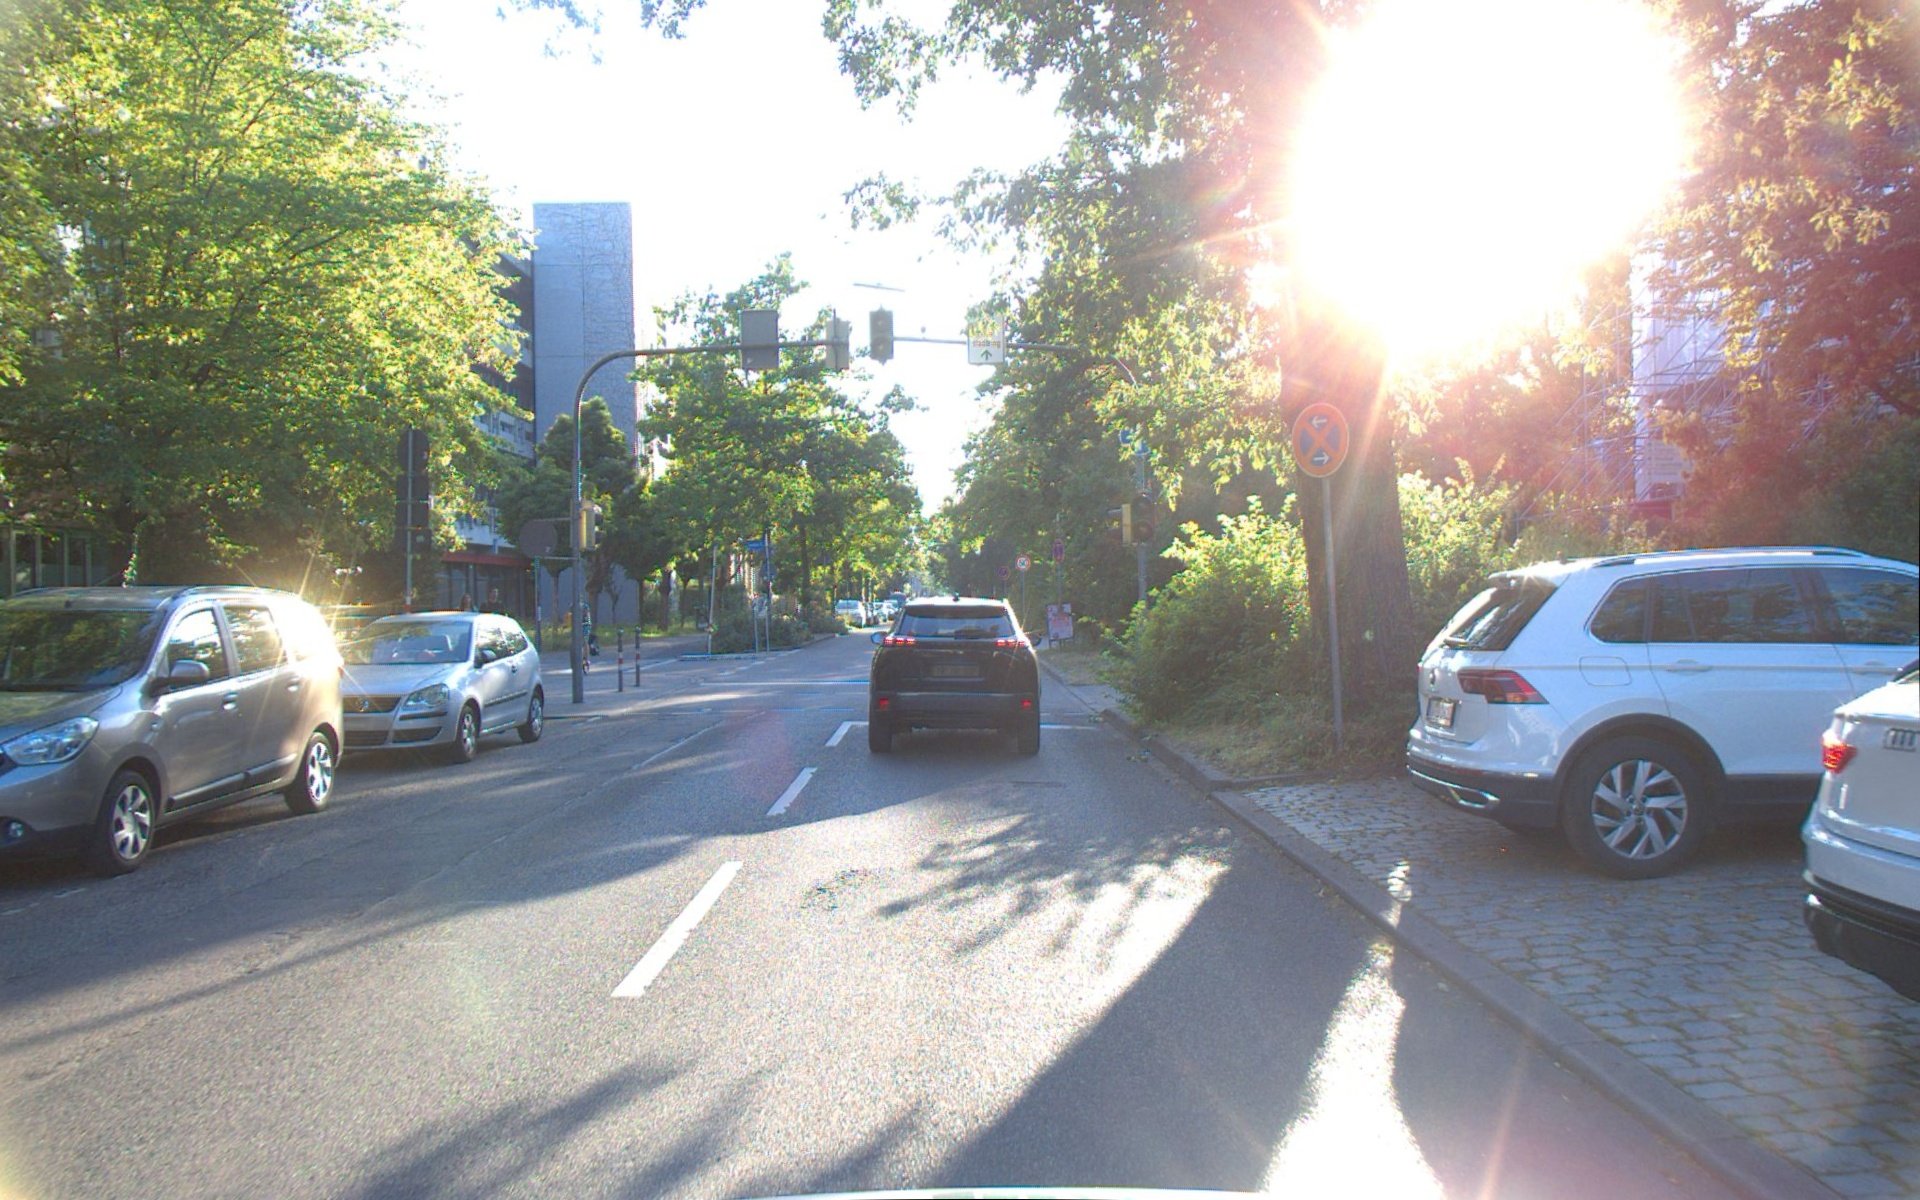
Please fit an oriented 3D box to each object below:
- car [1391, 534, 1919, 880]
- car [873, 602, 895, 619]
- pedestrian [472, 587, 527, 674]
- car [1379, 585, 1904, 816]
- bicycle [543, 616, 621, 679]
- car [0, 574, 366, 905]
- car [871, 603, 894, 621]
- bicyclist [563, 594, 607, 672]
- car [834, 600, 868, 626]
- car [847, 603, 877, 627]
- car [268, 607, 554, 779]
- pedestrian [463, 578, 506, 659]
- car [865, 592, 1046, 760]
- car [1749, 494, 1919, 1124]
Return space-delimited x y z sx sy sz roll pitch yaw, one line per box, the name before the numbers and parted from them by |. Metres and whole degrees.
car | 4.669 0.535 9.253 4.083 1.740 1.868 0 0 3
car | -6.641 0.921 144.429 1.775 1.378 3.997 -1 0 -4
pedestrian | -10.148 0.662 36.496 0.934 1.855 0.822 -1 0 1
car | 4.866 0.663 12.041 3.132 1.519 1.682 0 0 -8
bicycle | -8.026 0.997 35.202 0.672 1.271 2.194 0 0 15
car | -5.563 0.740 10.909 1.645 1.738 4.340 -2 1 0
car | -6.296 0.924 134.375 1.775 1.378 3.975 -1 0 -4
bicyclist | -8.001 0.699 35.289 0.661 1.631 0.707 0 0 16
car | -6.225 0.738 94.291 1.775 1.378 3.995 -1 0 -5
car | -5.968 0.901 100.538 1.775 1.378 3.997 -1 0 -4
car | -5.593 0.874 17.351 1.645 1.482 3.882 -2 1 0
pedestrian | -10.156 0.388 35.321 0.691 1.692 0.715 -1 0 -3
car | -0.075 0.725 17.583 1.732 1.596 3.379 0 0 -1
car | 4.606 0.563 4.577 4.038 1.696 1.722 0 0 -1
